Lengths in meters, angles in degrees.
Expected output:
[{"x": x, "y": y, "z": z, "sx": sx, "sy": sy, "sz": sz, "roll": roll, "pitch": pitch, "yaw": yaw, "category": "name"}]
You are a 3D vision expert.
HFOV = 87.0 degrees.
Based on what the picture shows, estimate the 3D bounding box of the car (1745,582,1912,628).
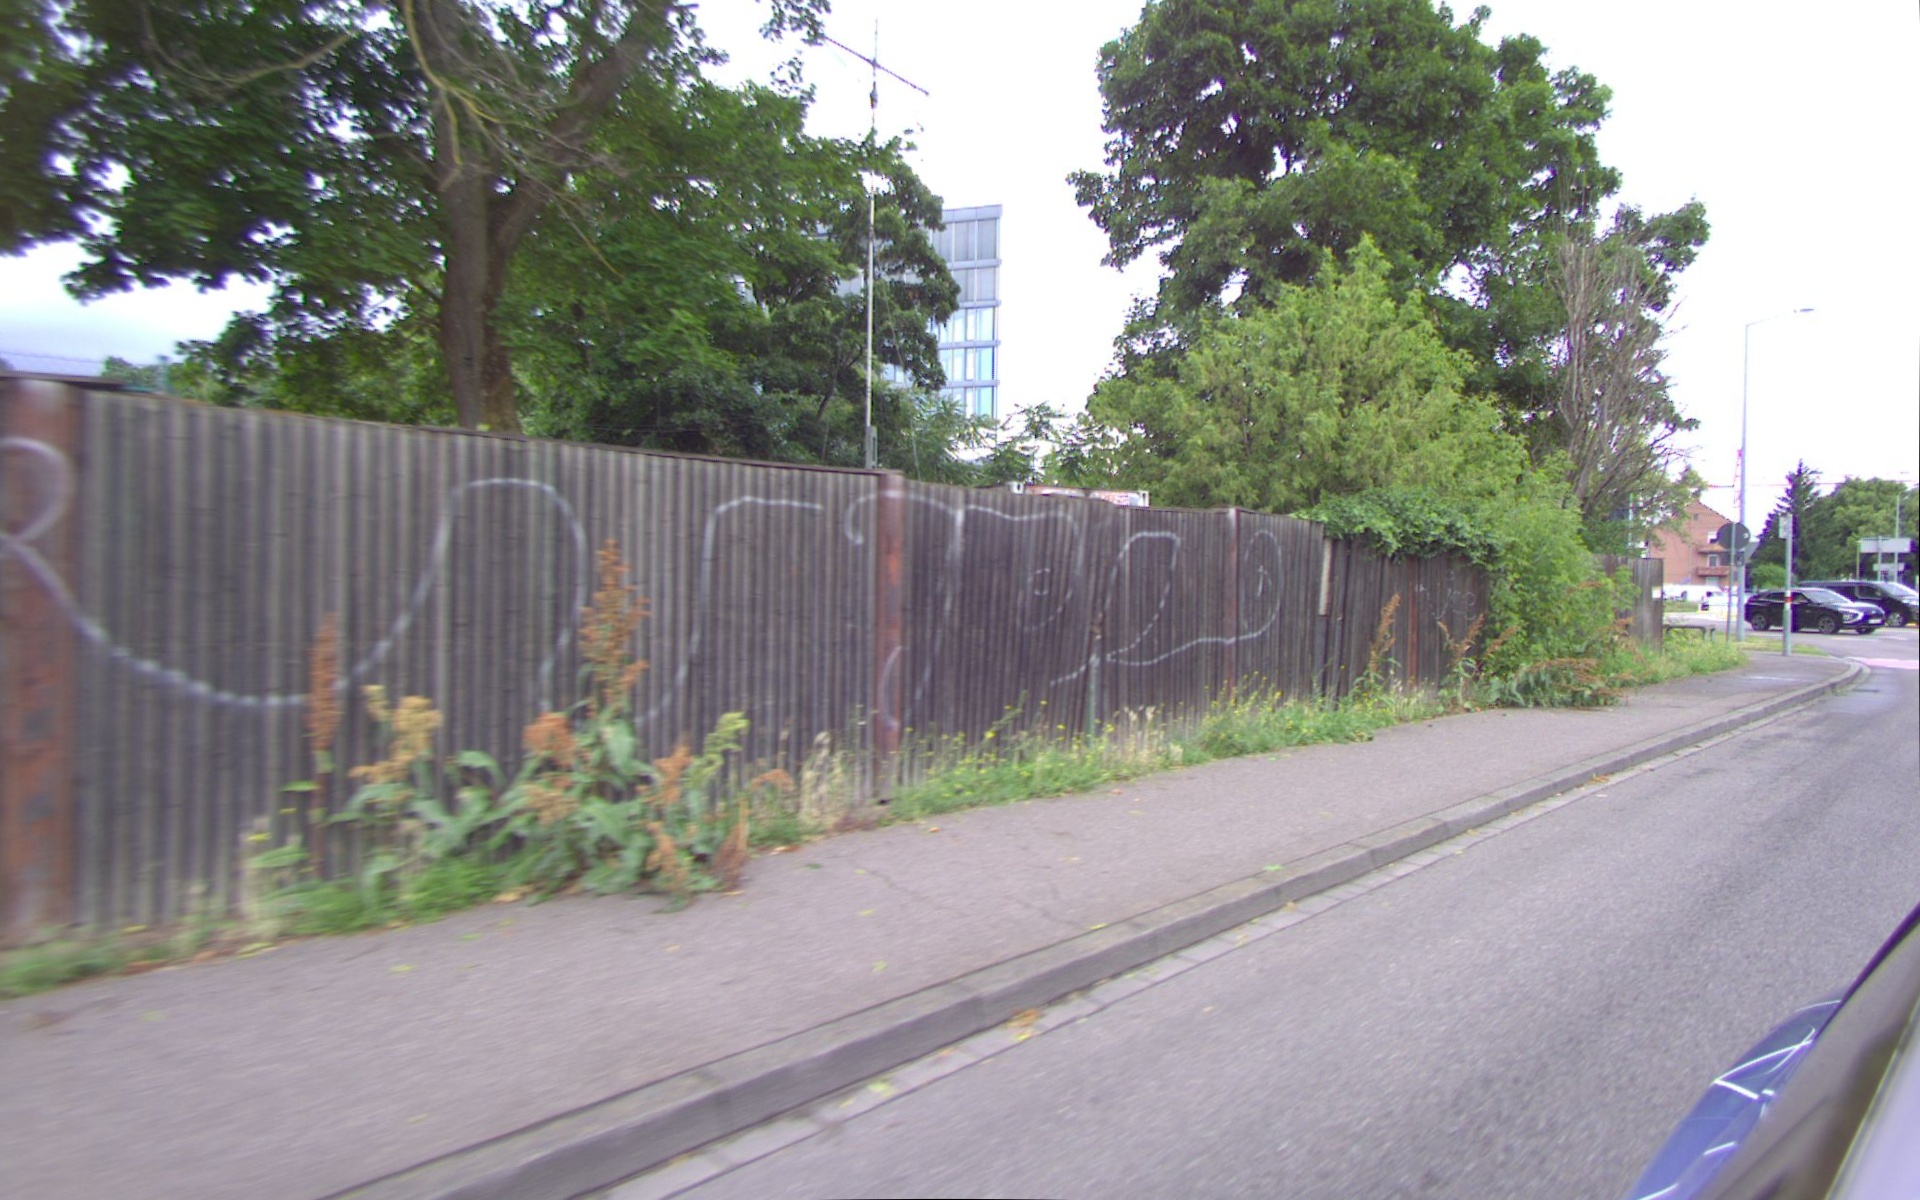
[{"x": 31.968, "y": 0.127, "z": 37.440, "sx": 1.882, "sy": 1.586, "sz": 4.484, "roll": 0, "pitch": 1, "yaw": -10, "category": "car"}]

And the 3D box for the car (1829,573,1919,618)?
[{"x": 38.141, "y": -0.203, "z": 41.008, "sx": 1.889, "sy": 1.736, "sz": 4.022, "roll": 0, "pitch": 1, "yaw": -18, "category": "car"}]

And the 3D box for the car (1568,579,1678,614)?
[{"x": 34.124, "y": -0.200, "z": 52.216, "sx": 1.959, "sy": 1.638, "sz": 4.367, "roll": 1, "pitch": 1, "yaw": -26, "category": "car"}]
